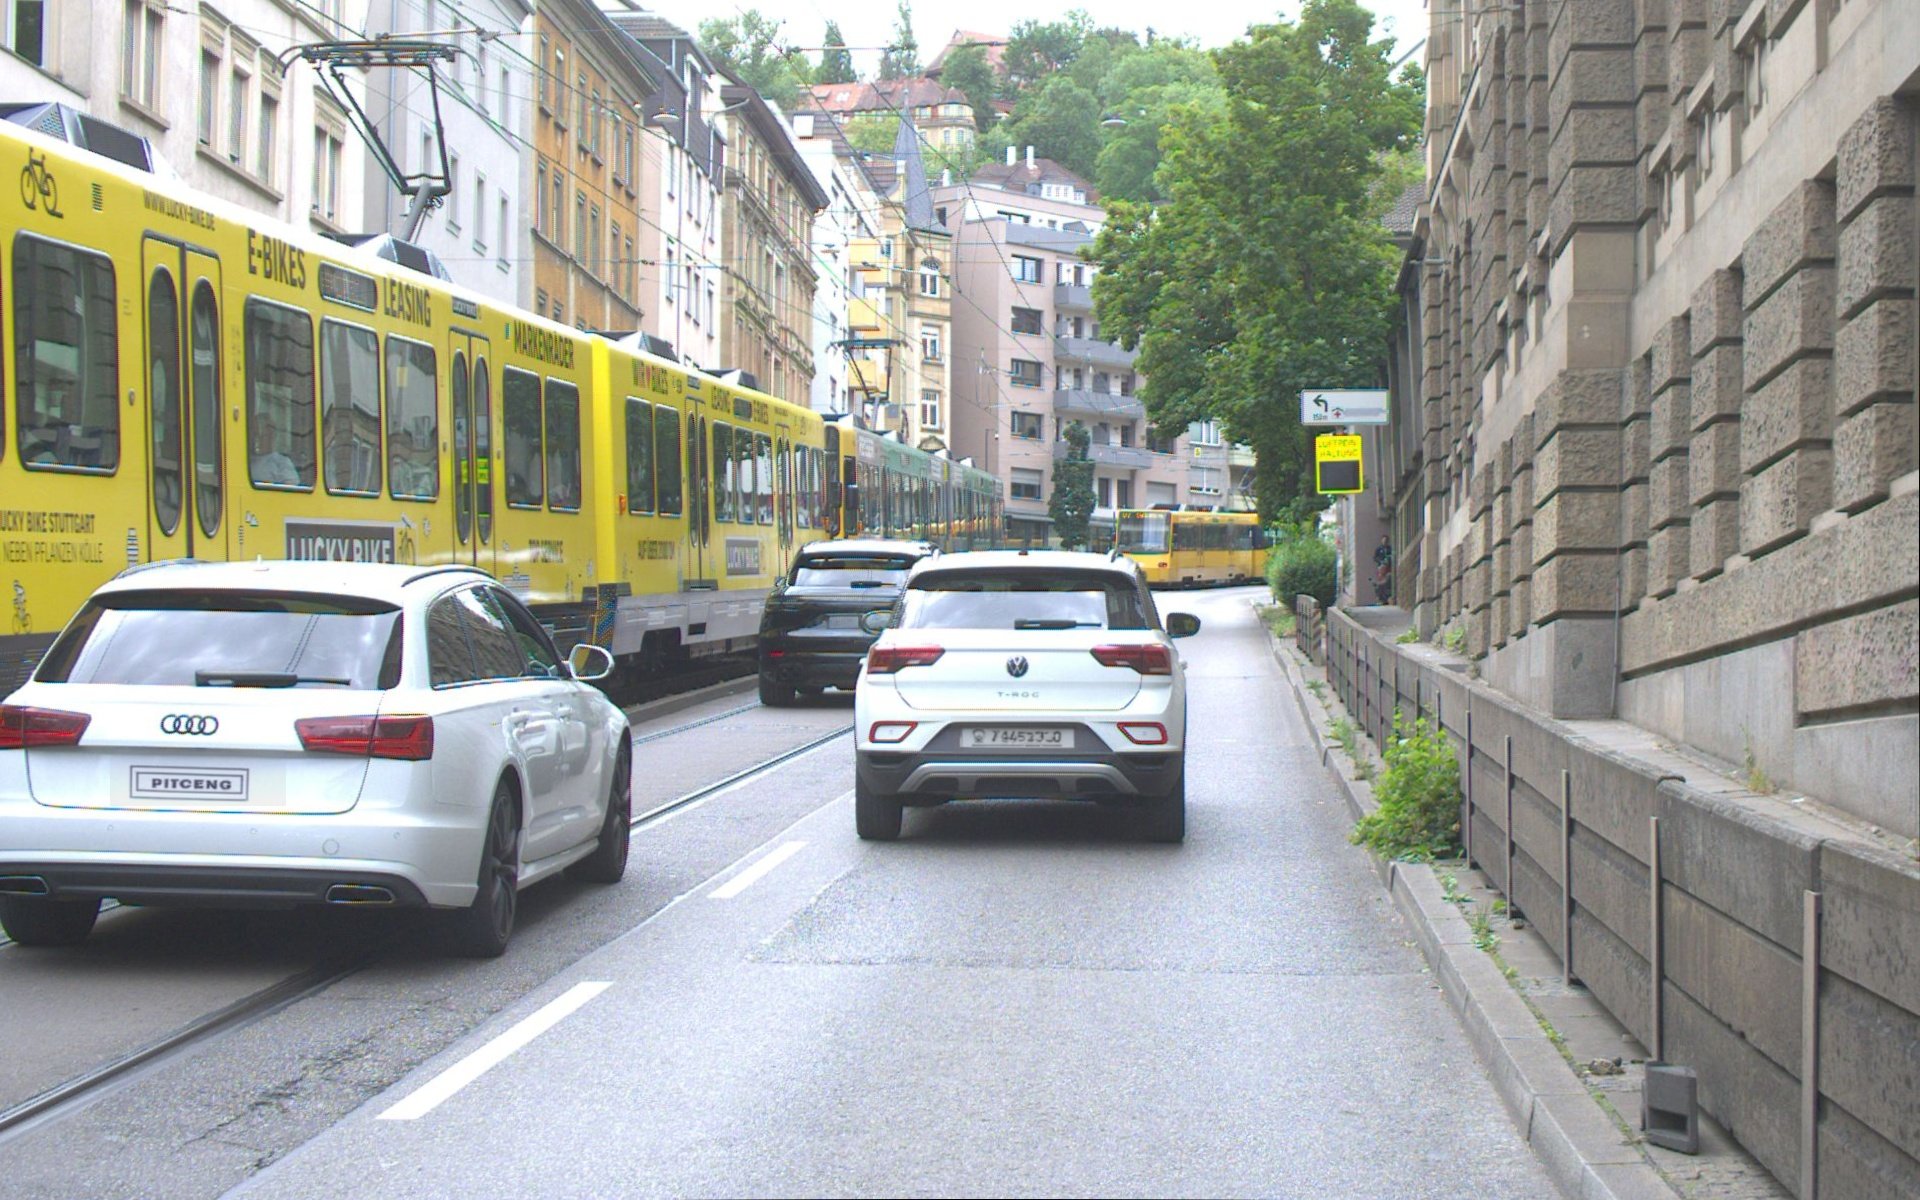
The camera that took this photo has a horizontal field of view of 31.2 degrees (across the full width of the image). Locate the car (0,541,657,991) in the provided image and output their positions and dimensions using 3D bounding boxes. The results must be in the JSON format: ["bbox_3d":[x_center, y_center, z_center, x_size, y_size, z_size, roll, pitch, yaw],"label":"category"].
[{"bbox_3d":[-2.522,0.520,13.944,1.879,1.450,4.617,2,1,3],"label":"car"}]

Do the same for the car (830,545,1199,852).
[{"bbox_3d":[0.388,0.473,19.577,1.879,1.549,4.000,1,1,3],"label":"car"}]

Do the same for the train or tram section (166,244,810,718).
[{"bbox_3d":[-4.216,-1.083,36.956,2.877,3.713,18.700,2,1,4],"label":"train or tram section"}]

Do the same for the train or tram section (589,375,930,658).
[{"bbox_3d":[-2.786,-1.254,55.644,2.877,3.713,18.754,2,1,4],"label":"train or tram section"}]

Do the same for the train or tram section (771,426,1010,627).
[{"bbox_3d":[-1.182,-1.510,74.316,2.877,3.713,18.753,2,1,6],"label":"train or tram section"}]

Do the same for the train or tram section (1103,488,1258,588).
[{"bbox_3d":[10.078,-2.728,153.982,3.019,4.199,18.845,1,1,16],"label":"train or tram section"}]

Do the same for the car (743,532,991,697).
[{"bbox_3d":[-0.881,0.108,35.292,2.038,1.566,4.357,1,1,5],"label":"car"}]

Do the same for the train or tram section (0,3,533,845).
[{"bbox_3d":[-5.380,-0.875,20.197,2.883,3.713,14.855,2,1,4],"label":"train or tram section"}]
